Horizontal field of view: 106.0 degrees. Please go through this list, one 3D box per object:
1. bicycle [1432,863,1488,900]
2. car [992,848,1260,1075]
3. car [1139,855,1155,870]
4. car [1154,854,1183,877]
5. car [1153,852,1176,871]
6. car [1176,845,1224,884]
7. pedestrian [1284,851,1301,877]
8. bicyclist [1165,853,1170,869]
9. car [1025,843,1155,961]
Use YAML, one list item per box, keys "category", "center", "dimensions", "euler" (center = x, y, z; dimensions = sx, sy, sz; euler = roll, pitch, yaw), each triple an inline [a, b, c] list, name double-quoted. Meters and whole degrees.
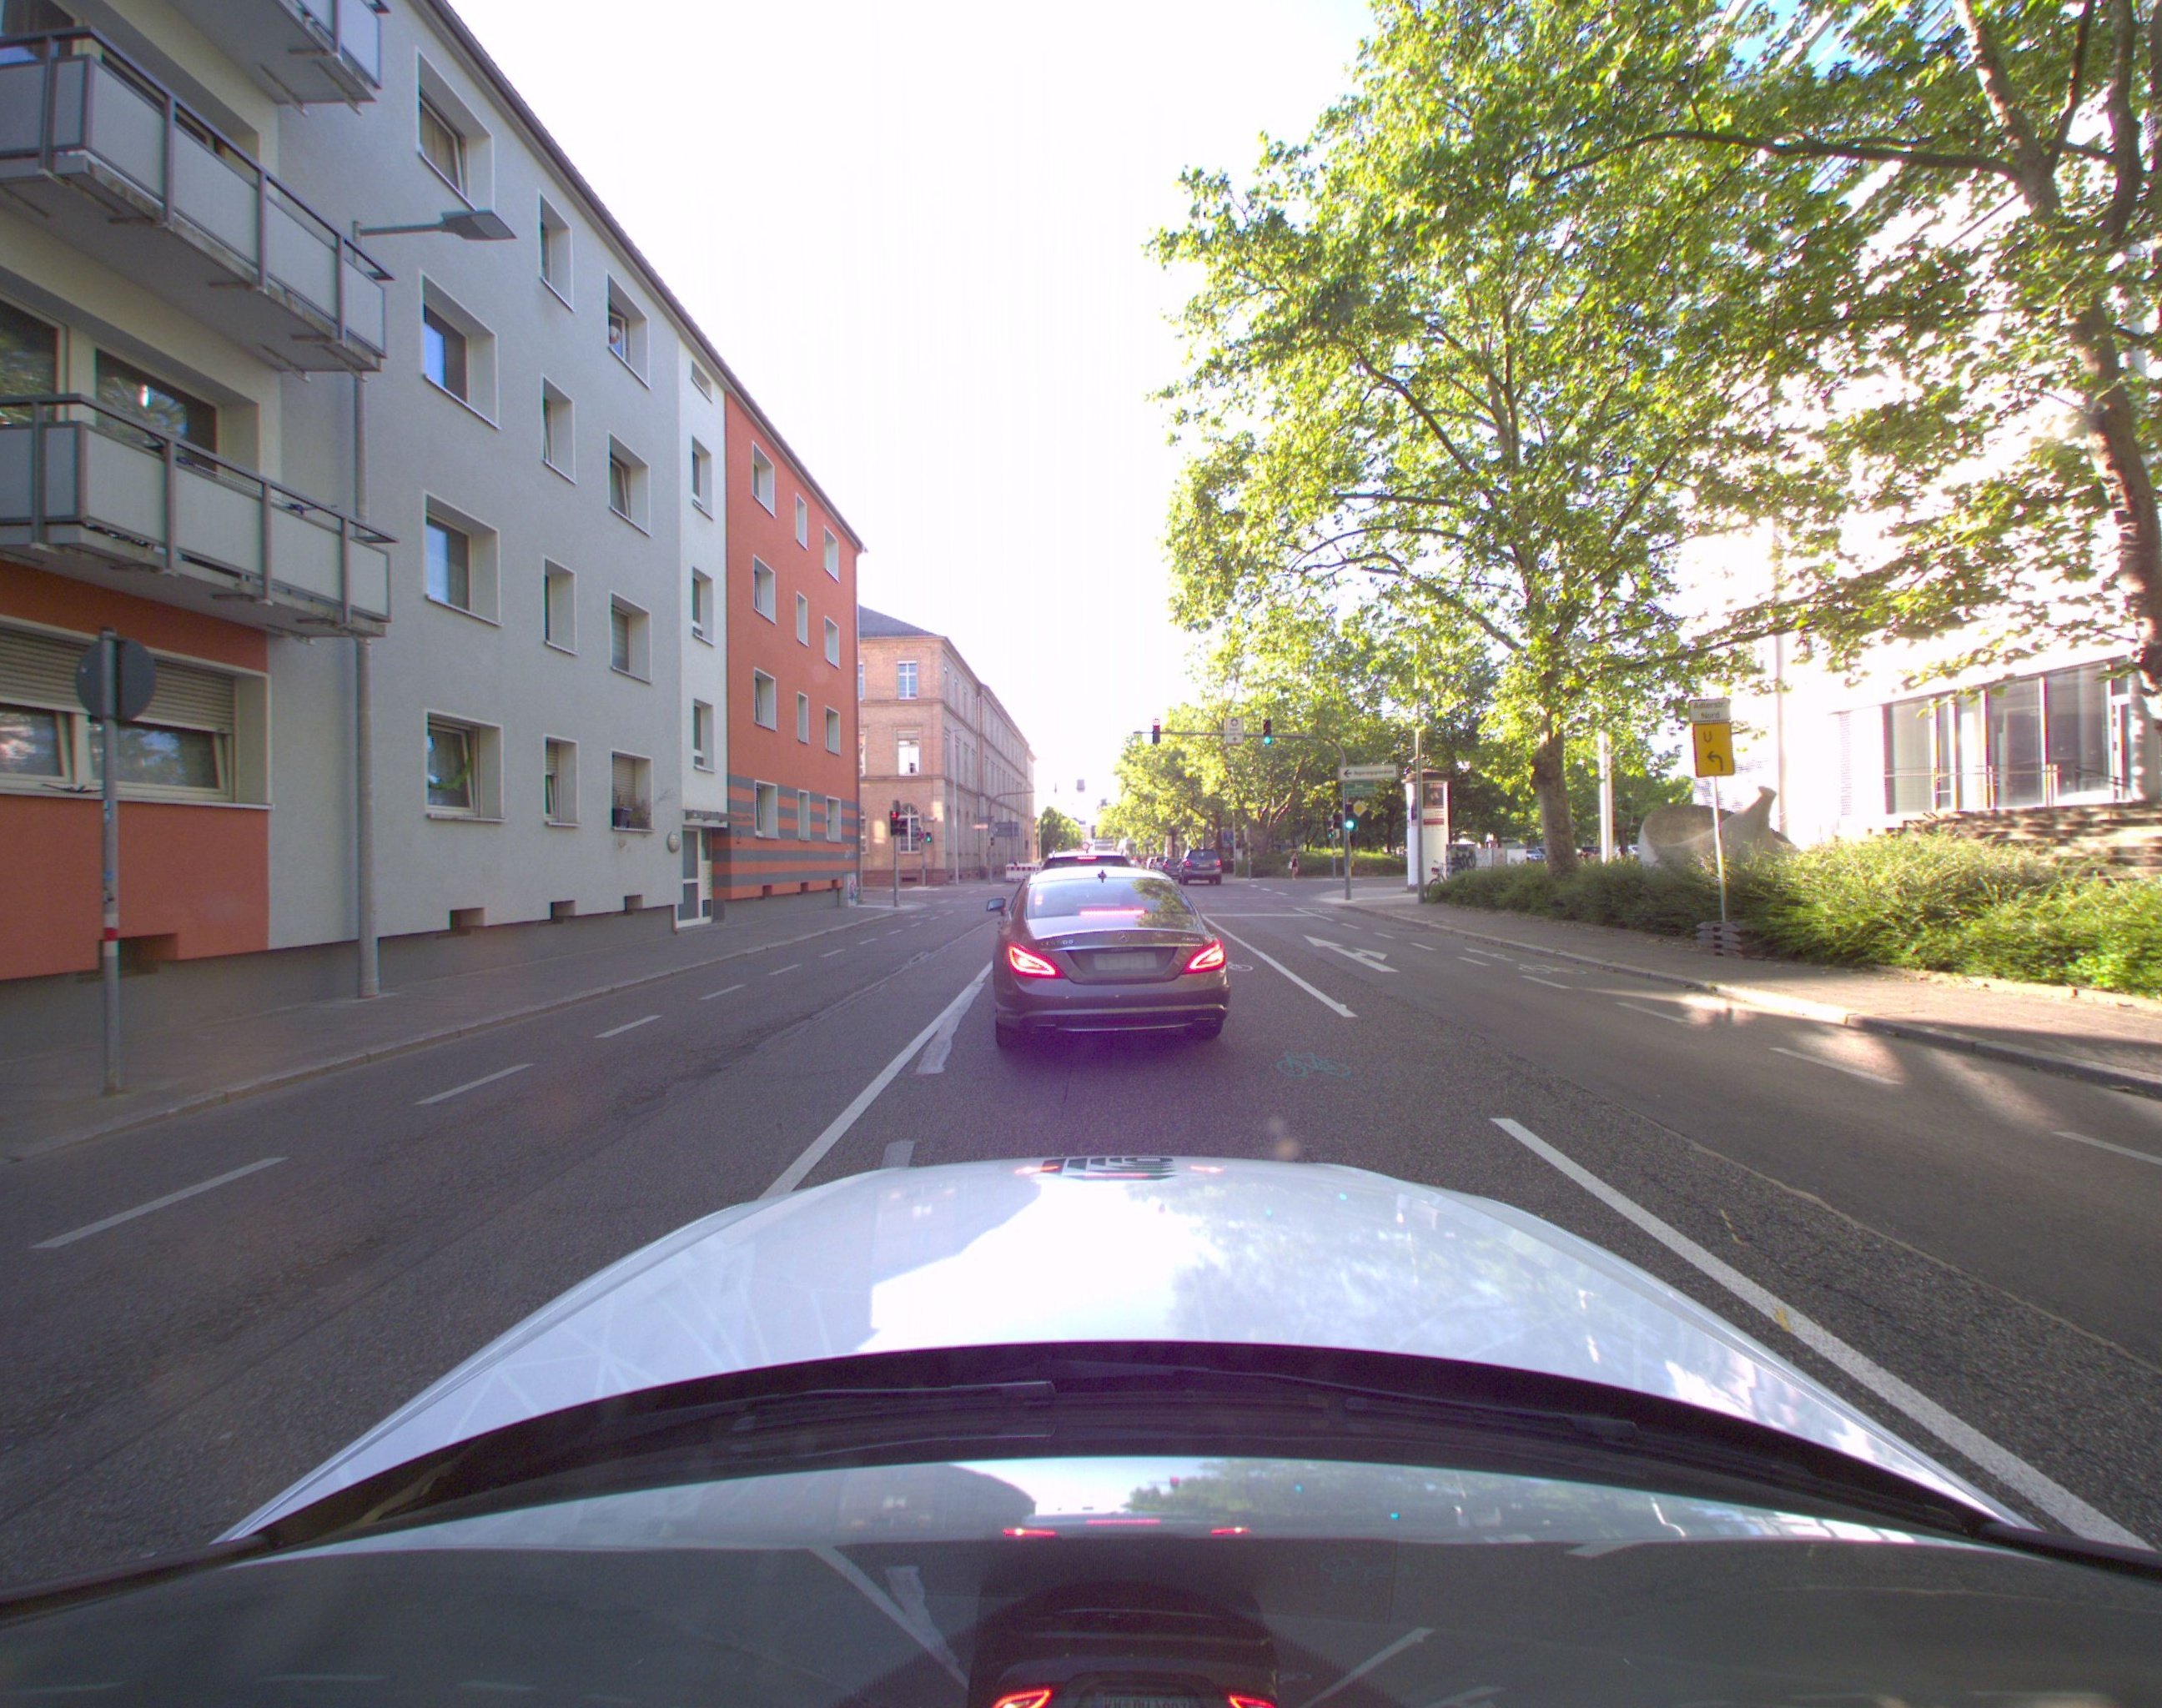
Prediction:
- category: "bicycle"
  center: [10.984, 0.779, 23.588]
  dimensions: [1.895, 1.028, 0.635]
  euler: [0, -1, -36]
- category: "car"
  center: [0.143, 0.735, 7.615]
  dimensions: [1.859, 1.519, 3.992]
  euler: [-1, 0, -6]
- category: "car"
  center: [7.237, 0.922, 89.895]
  dimensions: [1.595, 1.549, 3.682]
  euler: [0, -1, 2]
- category: "car"
  center: [6.053, 0.783, 56.858]
  dimensions: [1.698, 1.519, 4.002]
  euler: [-1, 0, 2]
- category: "car"
  center: [7.469, 0.675, 73.007]
  dimensions: [1.725, 1.662, 3.682]
  euler: [0, -1, 2]
- category: "car"
  center: [5.808, 0.482, 40.130]
  dimensions: [1.854, 1.764, 4.483]
  euler: [-1, 0, 2]
- category: "pedestrian"
  center: [12.304, 0.582, 47.435]
  dimensions: [0.636, 1.545, 0.906]
  euler: [0, -1, -12]
- category: "bicyclist"
  center: [11.155, 0.851, 105.017]
  dimensions: [0.593, 2.039, 0.566]
  euler: [0, -1, -2]
- category: "car"
  center: [0.192, 0.694, 13.750]
  dimensions: [1.854, 1.682, 4.002]
  euler: [-1, 0, 2]
